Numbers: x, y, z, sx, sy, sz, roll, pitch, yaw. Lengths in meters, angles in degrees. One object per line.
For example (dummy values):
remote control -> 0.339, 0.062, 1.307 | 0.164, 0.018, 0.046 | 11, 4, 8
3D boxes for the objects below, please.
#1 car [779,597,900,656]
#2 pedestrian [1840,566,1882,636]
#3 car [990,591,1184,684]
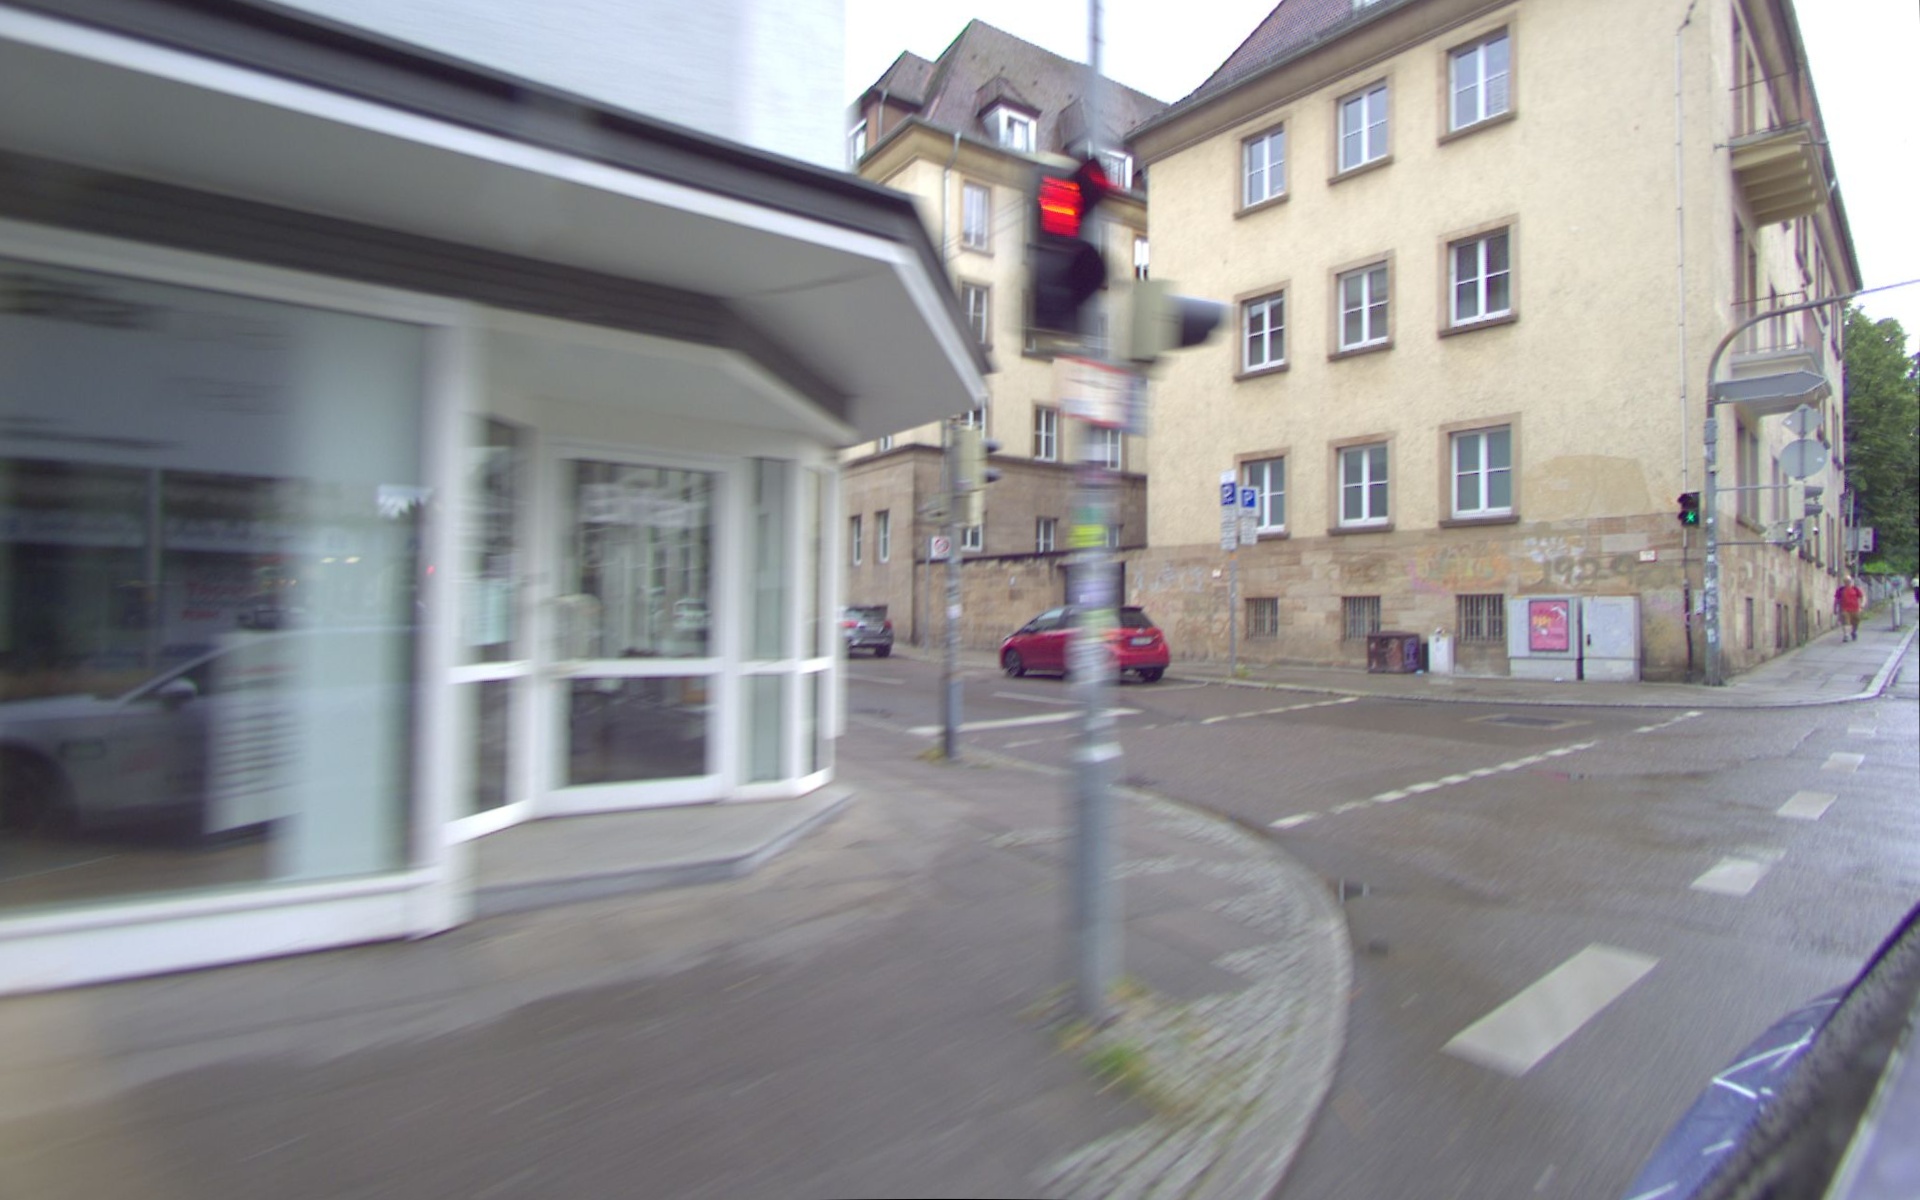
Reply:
car -> -3.505, 0.686, 28.907 | 1.799, 1.473, 3.862 | -2, 2, -35
pedestrian -> 23.933, 0.007, 26.877 | 0.747, 1.785, 0.805 | 3, 4, 45
car -> 2.407, 0.653, 20.048 | 1.732, 1.537, 3.865 | -3, 3, -32
